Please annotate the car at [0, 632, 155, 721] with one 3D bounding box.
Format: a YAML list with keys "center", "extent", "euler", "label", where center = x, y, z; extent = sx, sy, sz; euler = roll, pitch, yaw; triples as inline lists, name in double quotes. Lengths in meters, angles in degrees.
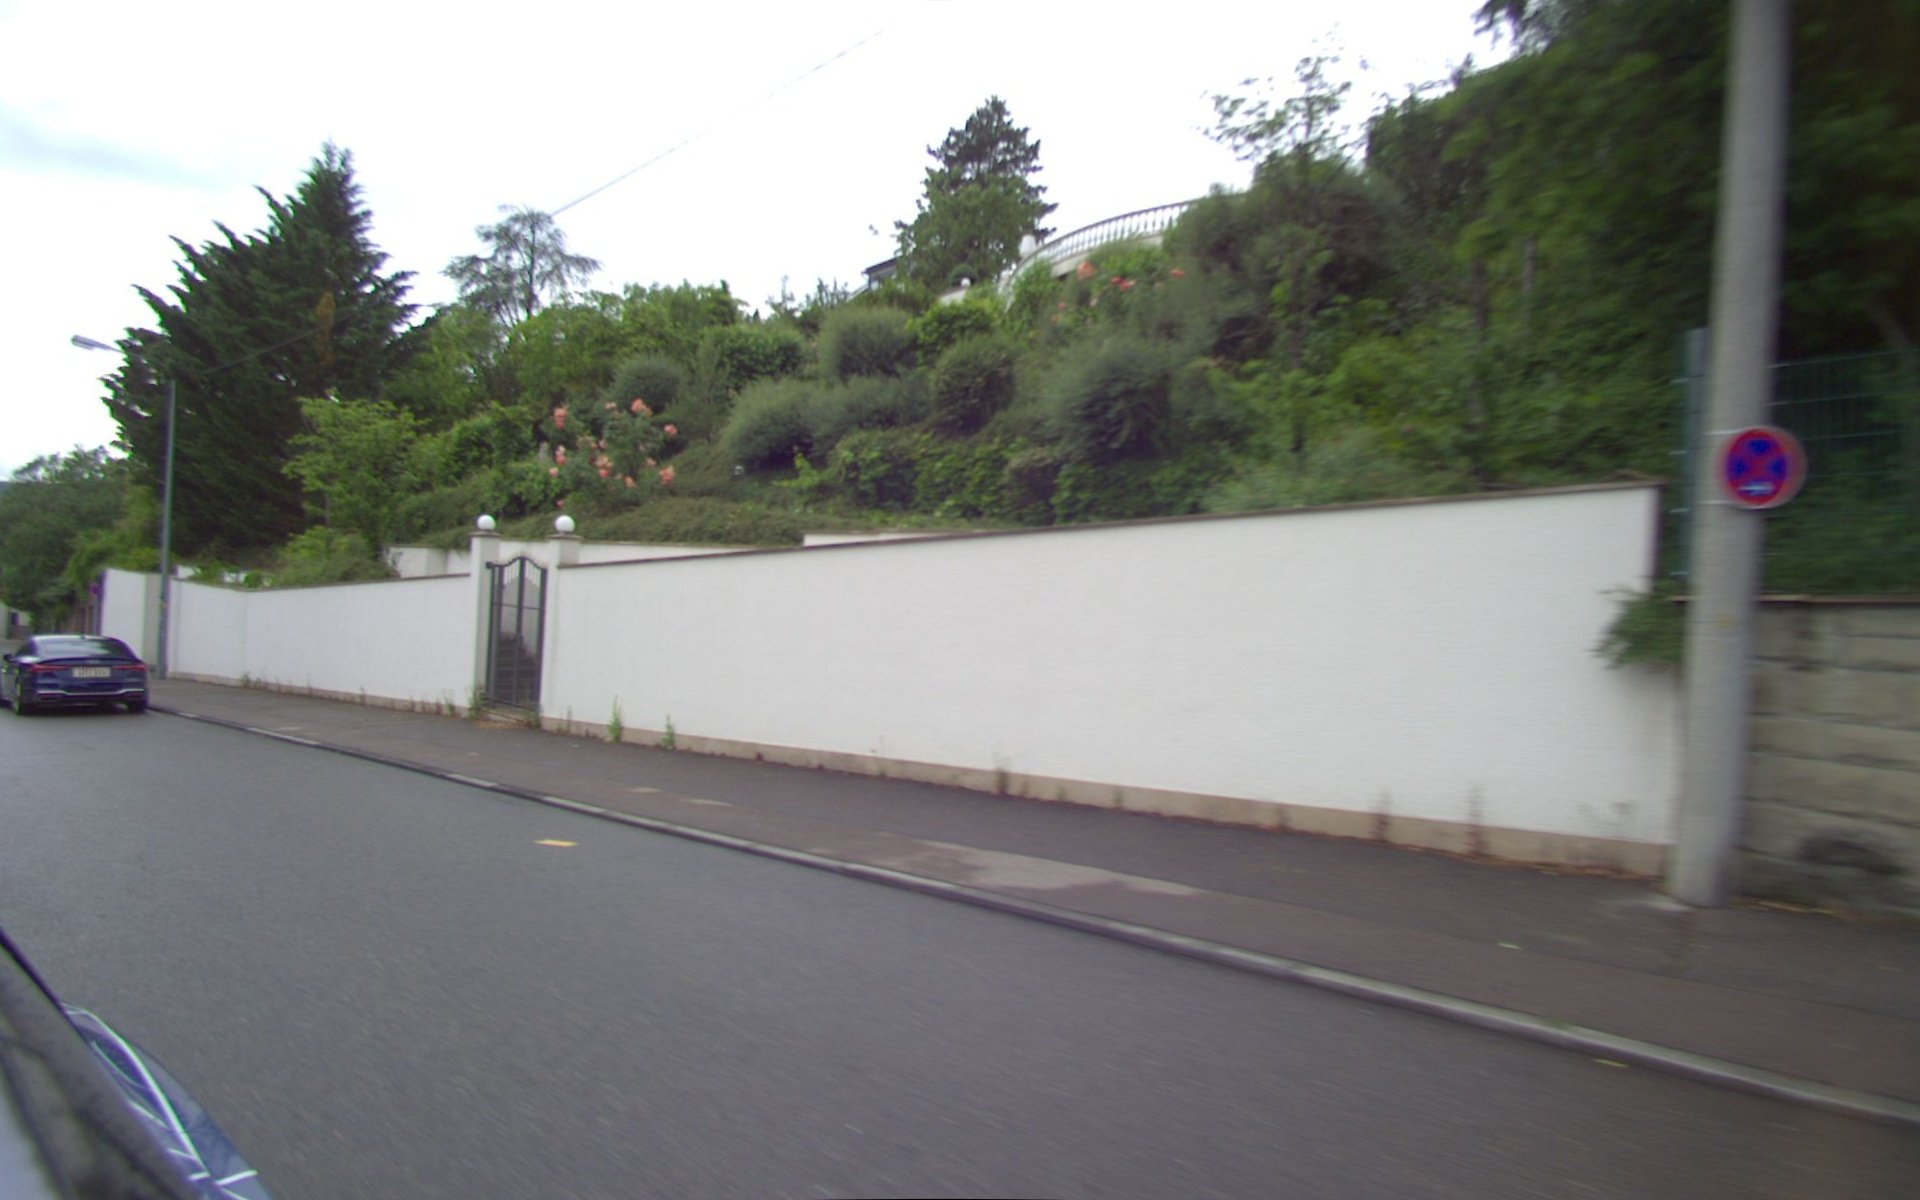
- center: [-16.514, 1.331, 18.681]
  extent: [4.251, 1.441, 1.788]
  euler: [-1, -3, 41]
  label: "car"
